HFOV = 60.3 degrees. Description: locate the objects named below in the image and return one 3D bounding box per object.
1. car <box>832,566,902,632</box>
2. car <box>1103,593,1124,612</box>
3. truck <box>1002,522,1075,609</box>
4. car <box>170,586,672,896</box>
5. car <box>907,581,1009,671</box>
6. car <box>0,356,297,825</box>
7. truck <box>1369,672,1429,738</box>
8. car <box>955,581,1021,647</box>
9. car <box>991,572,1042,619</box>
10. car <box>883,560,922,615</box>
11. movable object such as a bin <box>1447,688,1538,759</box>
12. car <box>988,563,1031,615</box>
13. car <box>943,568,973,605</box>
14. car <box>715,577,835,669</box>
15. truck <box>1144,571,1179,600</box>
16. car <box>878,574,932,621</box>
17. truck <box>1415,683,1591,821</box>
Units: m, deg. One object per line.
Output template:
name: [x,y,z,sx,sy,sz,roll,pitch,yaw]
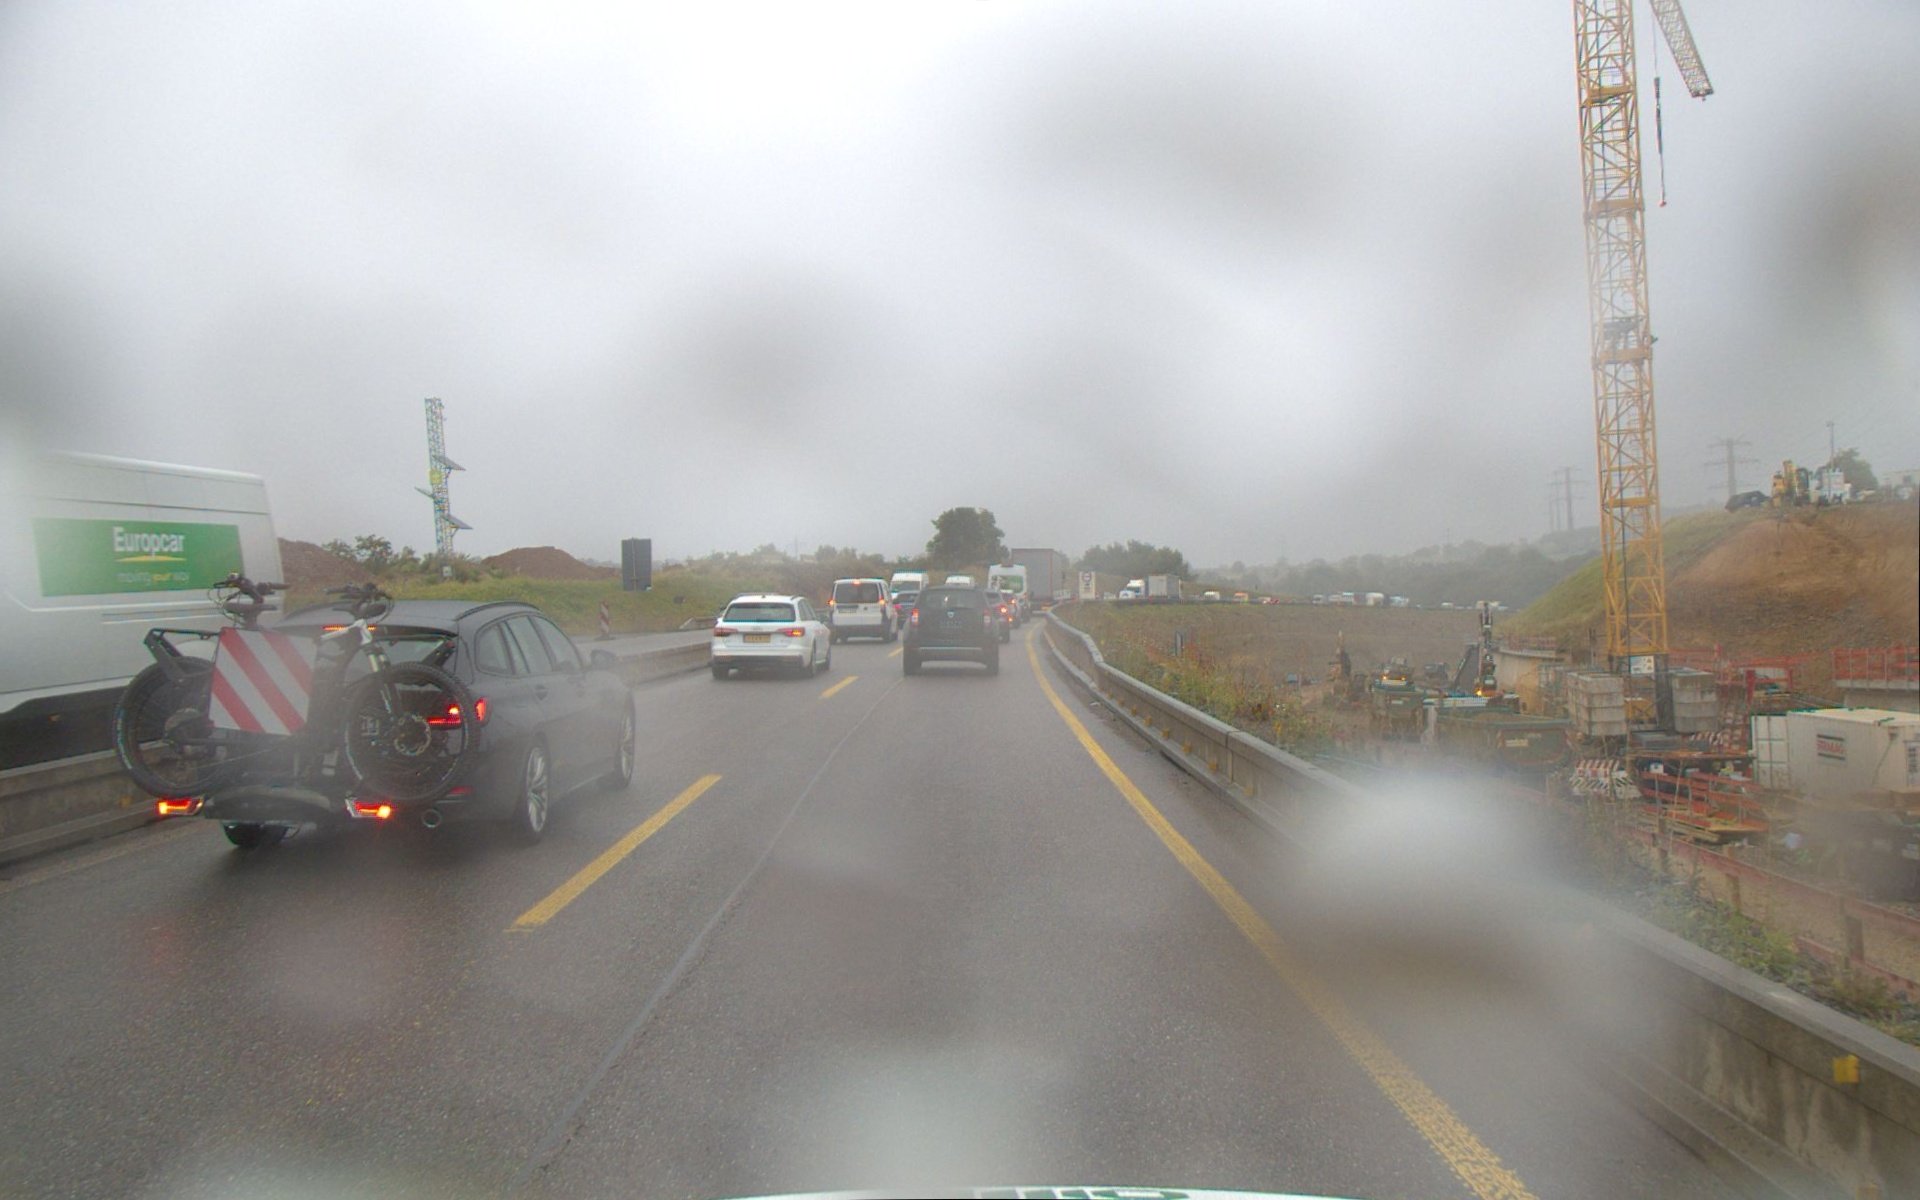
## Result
car: [-2.695,-0.009,48.578,1.789,1.847,4.000,1,-1,0]
car: [18.828,0.338,203.185,1.991,2.295,4.161,0,-1,13]
truck: [5.034,-2.032,103.782,3.468,5.166,10.450,0,-1,9]
car: [-3.297,0.713,11.447,1.699,1.488,5.629,0,2,-1]
car: [0.017,0.485,31.840,1.788,1.619,4.001,1,-1,2]
car: [-7.340,-0.076,12.363,1.953,3.099,7.170,1,0,-1]
truck: [27.216,6.420,102.894,2.671,3.552,9.072,0,-1,9]
car: [0.871,0.418,48.918,1.788,1.847,4.001,1,-1,3]
car: [2.346,-0.147,67.686,1.787,1.847,4.002,0,-1,6]
car: [-3.299,-0.736,96.354,1.952,3.066,5.780,1,0,1]
movable object such as a bin: [22.707,5.253,70.710,3.083,2.786,2.970,1,-1,4]
car: [2.500,-0.526,82.273,1.787,2.480,4.161,0,-1,7]
car: [-0.099,-0.975,120.048,1.982,2.593,5.959,-1,1,2]
car: [-3.257,0.396,29.788,1.789,1.525,3.998,1,-1,-2]
truck: [27.542,-1.989,225.724,3.399,3.780,8.423,-1,0,16]
car: [-2.208,-0.092,67.255,1.788,1.847,4.002,1,-1,4]
truck: [16.776,4.575,51.842,2.644,3.565,8.948,1,-1,0]
